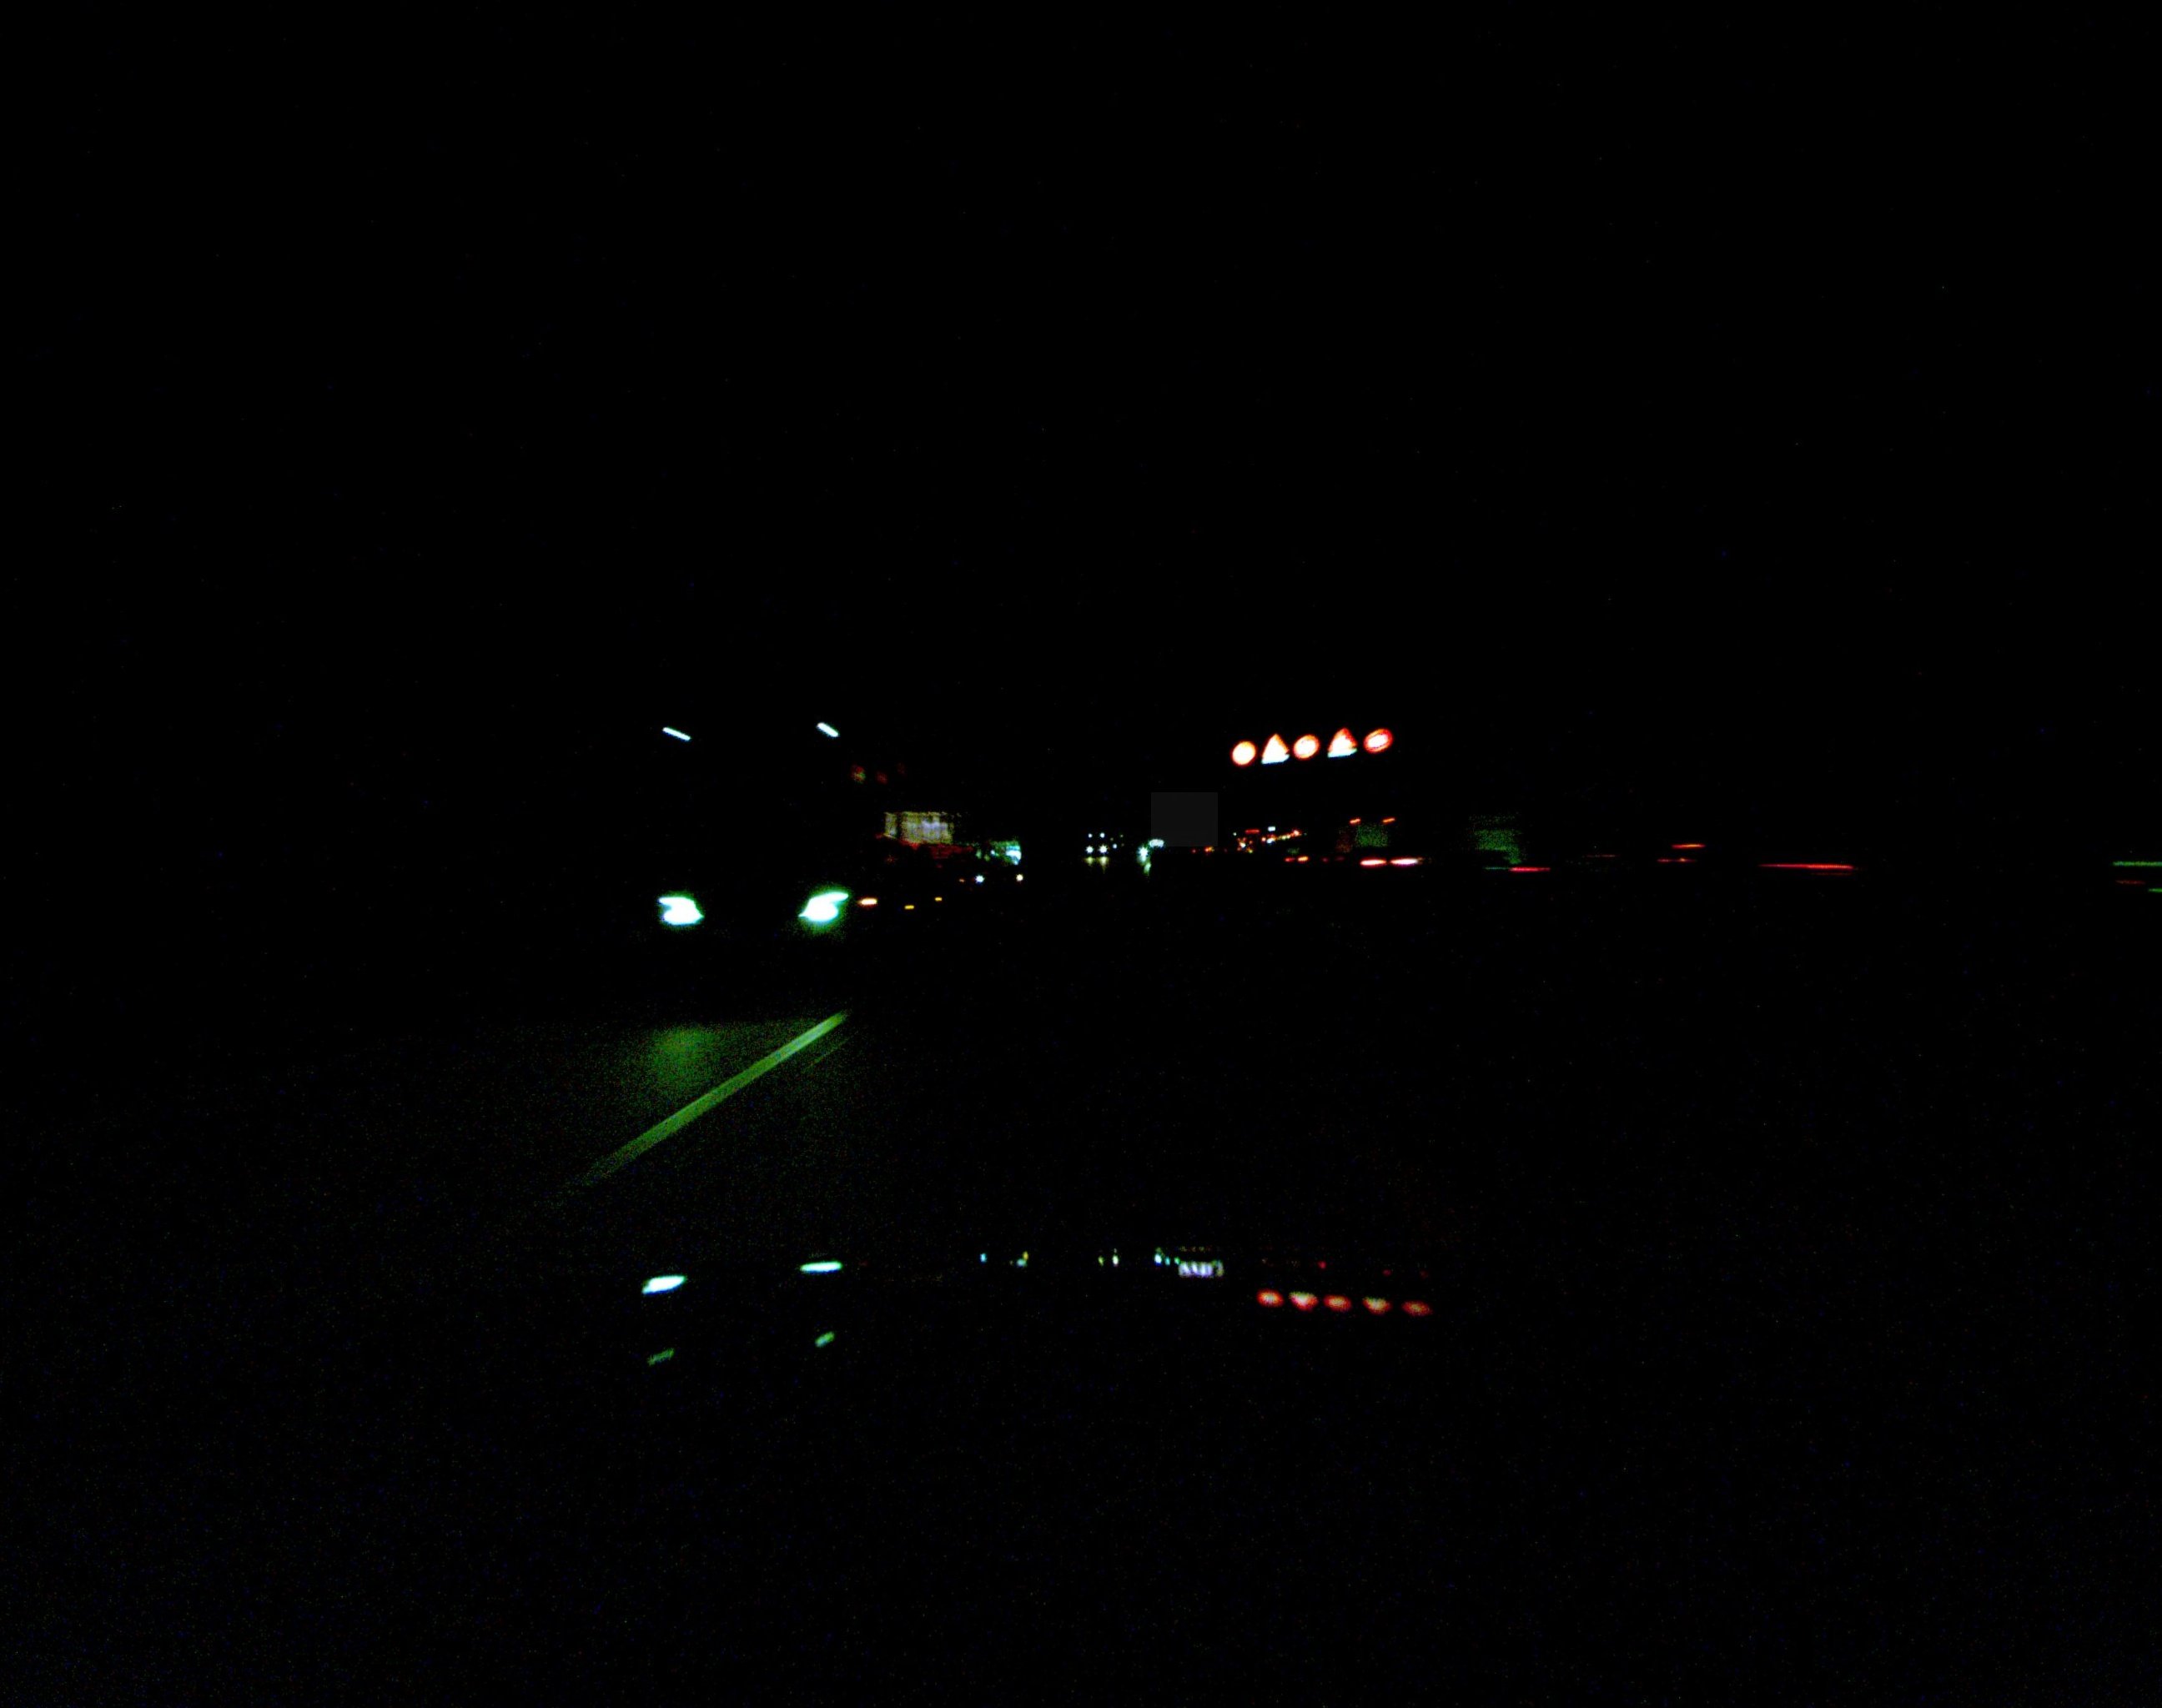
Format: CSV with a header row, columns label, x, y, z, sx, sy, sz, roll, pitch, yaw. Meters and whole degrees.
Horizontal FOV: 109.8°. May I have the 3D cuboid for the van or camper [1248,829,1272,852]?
label,x,y,z,sx,sy,sz,roll,pitch,yaw
van or camper,23.412,-1.825,99.544,2.450,2.746,6.490,-1,2,9

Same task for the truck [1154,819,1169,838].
label,x,y,z,sx,sy,sz,roll,pitch,yaw
truck,17.732,-5.654,167.115,2.898,3.950,4.002,-3,2,11

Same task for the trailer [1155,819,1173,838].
label,x,y,z,sx,sy,sz,roll,pitch,yaw
trailer,19.167,-5.976,174.610,2.837,3.953,15.770,-3,2,11

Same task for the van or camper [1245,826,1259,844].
label,x,y,z,sx,sy,sz,roll,pitch,yaw
van or camper,31.666,-3.546,140.756,2.273,3.361,5.696,-1,2,9

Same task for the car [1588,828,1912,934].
label,x,y,z,sx,sy,sz,roll,pitch,yaw
car,11.435,0.362,13.575,1.711,1.521,4.856,-1,1,3

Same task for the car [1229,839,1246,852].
label,x,y,z,sx,sy,sz,roll,pitch,yaw
car,19.270,-1.047,93.743,1.752,1.445,3.841,0,3,7

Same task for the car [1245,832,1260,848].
label,x,y,z,sx,sy,sz,roll,pitch,yaw
car,26.950,-2.188,119.524,1.837,2.357,5.449,-1,2,9

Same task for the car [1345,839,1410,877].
label,x,y,z,sx,sy,sz,roll,pitch,yaw
car,13.000,0.123,33.533,1.644,1.531,4.000,-1,2,5

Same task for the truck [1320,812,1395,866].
label,x,y,z,sx,sy,sz,roll,pitch,yaw
truck,18.080,-1.030,50.248,2.381,3.242,7.721,0,2,2

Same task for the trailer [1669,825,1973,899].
label,x,y,z,sx,sy,sz,roll,pitch,yaw
trailer,19.985,0.126,21.208,2.262,1.716,6.543,-1,1,2

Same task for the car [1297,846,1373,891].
label,x,y,z,sx,sy,sz,roll,pitch,yaw
car,7.838,0.413,23.665,1.421,1.249,3.129,-1,1,3

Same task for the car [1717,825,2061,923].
label,x,y,z,sx,sy,sz,roll,pitch,yaw
car,15.856,0.258,15.416,1.931,1.644,4.734,-2,2,0

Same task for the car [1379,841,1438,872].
label,x,y,z,sx,sy,sz,roll,pitch,yaw
car,17.569,0.099,40.972,1.644,1.531,4.438,-1,2,5

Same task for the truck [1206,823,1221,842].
label,x,y,z,sx,sy,sz,roll,pitch,yaw
truck,26.503,-4.362,152.114,2.659,3.571,8.552,-3,2,10

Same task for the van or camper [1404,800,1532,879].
label,x,y,z,sx,sy,sz,roll,pitch,yaw
van or camper,16.326,-0.602,32.661,2.227,2.986,7.124,-1,1,4

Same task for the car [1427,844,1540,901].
label,x,y,z,sx,sy,sz,roll,pitch,yaw
car,11.365,0.468,21.711,1.702,1.455,3.483,-1,1,7

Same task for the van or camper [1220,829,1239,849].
label,x,y,z,sx,sy,sz,roll,pitch,yaw
van or camper,20.257,-2.065,103.930,2.259,2.580,6.688,0,2,8

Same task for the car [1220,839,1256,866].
label,x,y,z,sx,sy,sz,roll,pitch,yaw
car,9.783,-0.133,47.677,1.684,1.557,4.000,-1,1,4

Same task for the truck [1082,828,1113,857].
label,x,y,z,sx,sy,sz,roll,pitch,yaw
truck,2.547,-1.772,112.778,2.871,3.819,8.056,-4,3,12

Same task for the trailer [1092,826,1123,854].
label,x,y,z,sx,sy,sz,roll,pitch,yaw
trailer,4.401,-2.350,122.347,2.879,3.910,12.889,-4,3,10

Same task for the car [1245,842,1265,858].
label,x,y,z,sx,sy,sz,roll,pitch,yaw
car,17.493,-0.452,76.627,1.609,1.471,4.075,0,2,7

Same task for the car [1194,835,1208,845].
label,x,y,z,sx,sy,sz,roll,pitch,yaw
car,17.881,-2.100,112.925,1.837,1.444,4.507,-1,2,11

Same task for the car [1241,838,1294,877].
label,x,y,z,sx,sy,sz,roll,pitch,yaw
car,9.124,0.130,37.466,1.811,1.731,4.868,-1,2,5

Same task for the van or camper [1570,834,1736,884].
label,x,y,z,sx,sy,sz,roll,pitch,yaw
van or camper,20.164,0.133,27.169,2.227,1.541,5.217,-1,1,4

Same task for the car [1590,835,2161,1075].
label,x,y,z,sx,sy,sz,roll,pitch,yaw
car,7.383,0.598,7.238,1.908,1.483,4.867,-2,1,2

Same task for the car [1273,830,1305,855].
label,x,y,z,sx,sy,sz,roll,pitch,yaw
car,19.537,-1.061,71.584,2.135,2.255,4.564,0,1,5

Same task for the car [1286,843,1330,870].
label,x,y,z,sx,sy,sz,roll,pitch,yaw
car,13.272,0.109,44.661,1.644,1.475,4.363,-1,2,5

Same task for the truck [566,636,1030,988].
label,x,y,z,sx,sy,sz,roll,pitch,yaw
truck,-4.086,-0.845,18.638,3.490,4.112,18.703,-3,2,2

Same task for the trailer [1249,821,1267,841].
label,x,y,z,sx,sy,sz,roll,pitch,yaw
trailer,39.990,-5.347,171.021,3.440,4.218,12.841,0,3,16

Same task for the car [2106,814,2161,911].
label,x,y,z,sx,sy,sz,roll,pitch,yaw
car,19.553,0.190,11.444,1.814,1.644,4.734,-2,2,0
